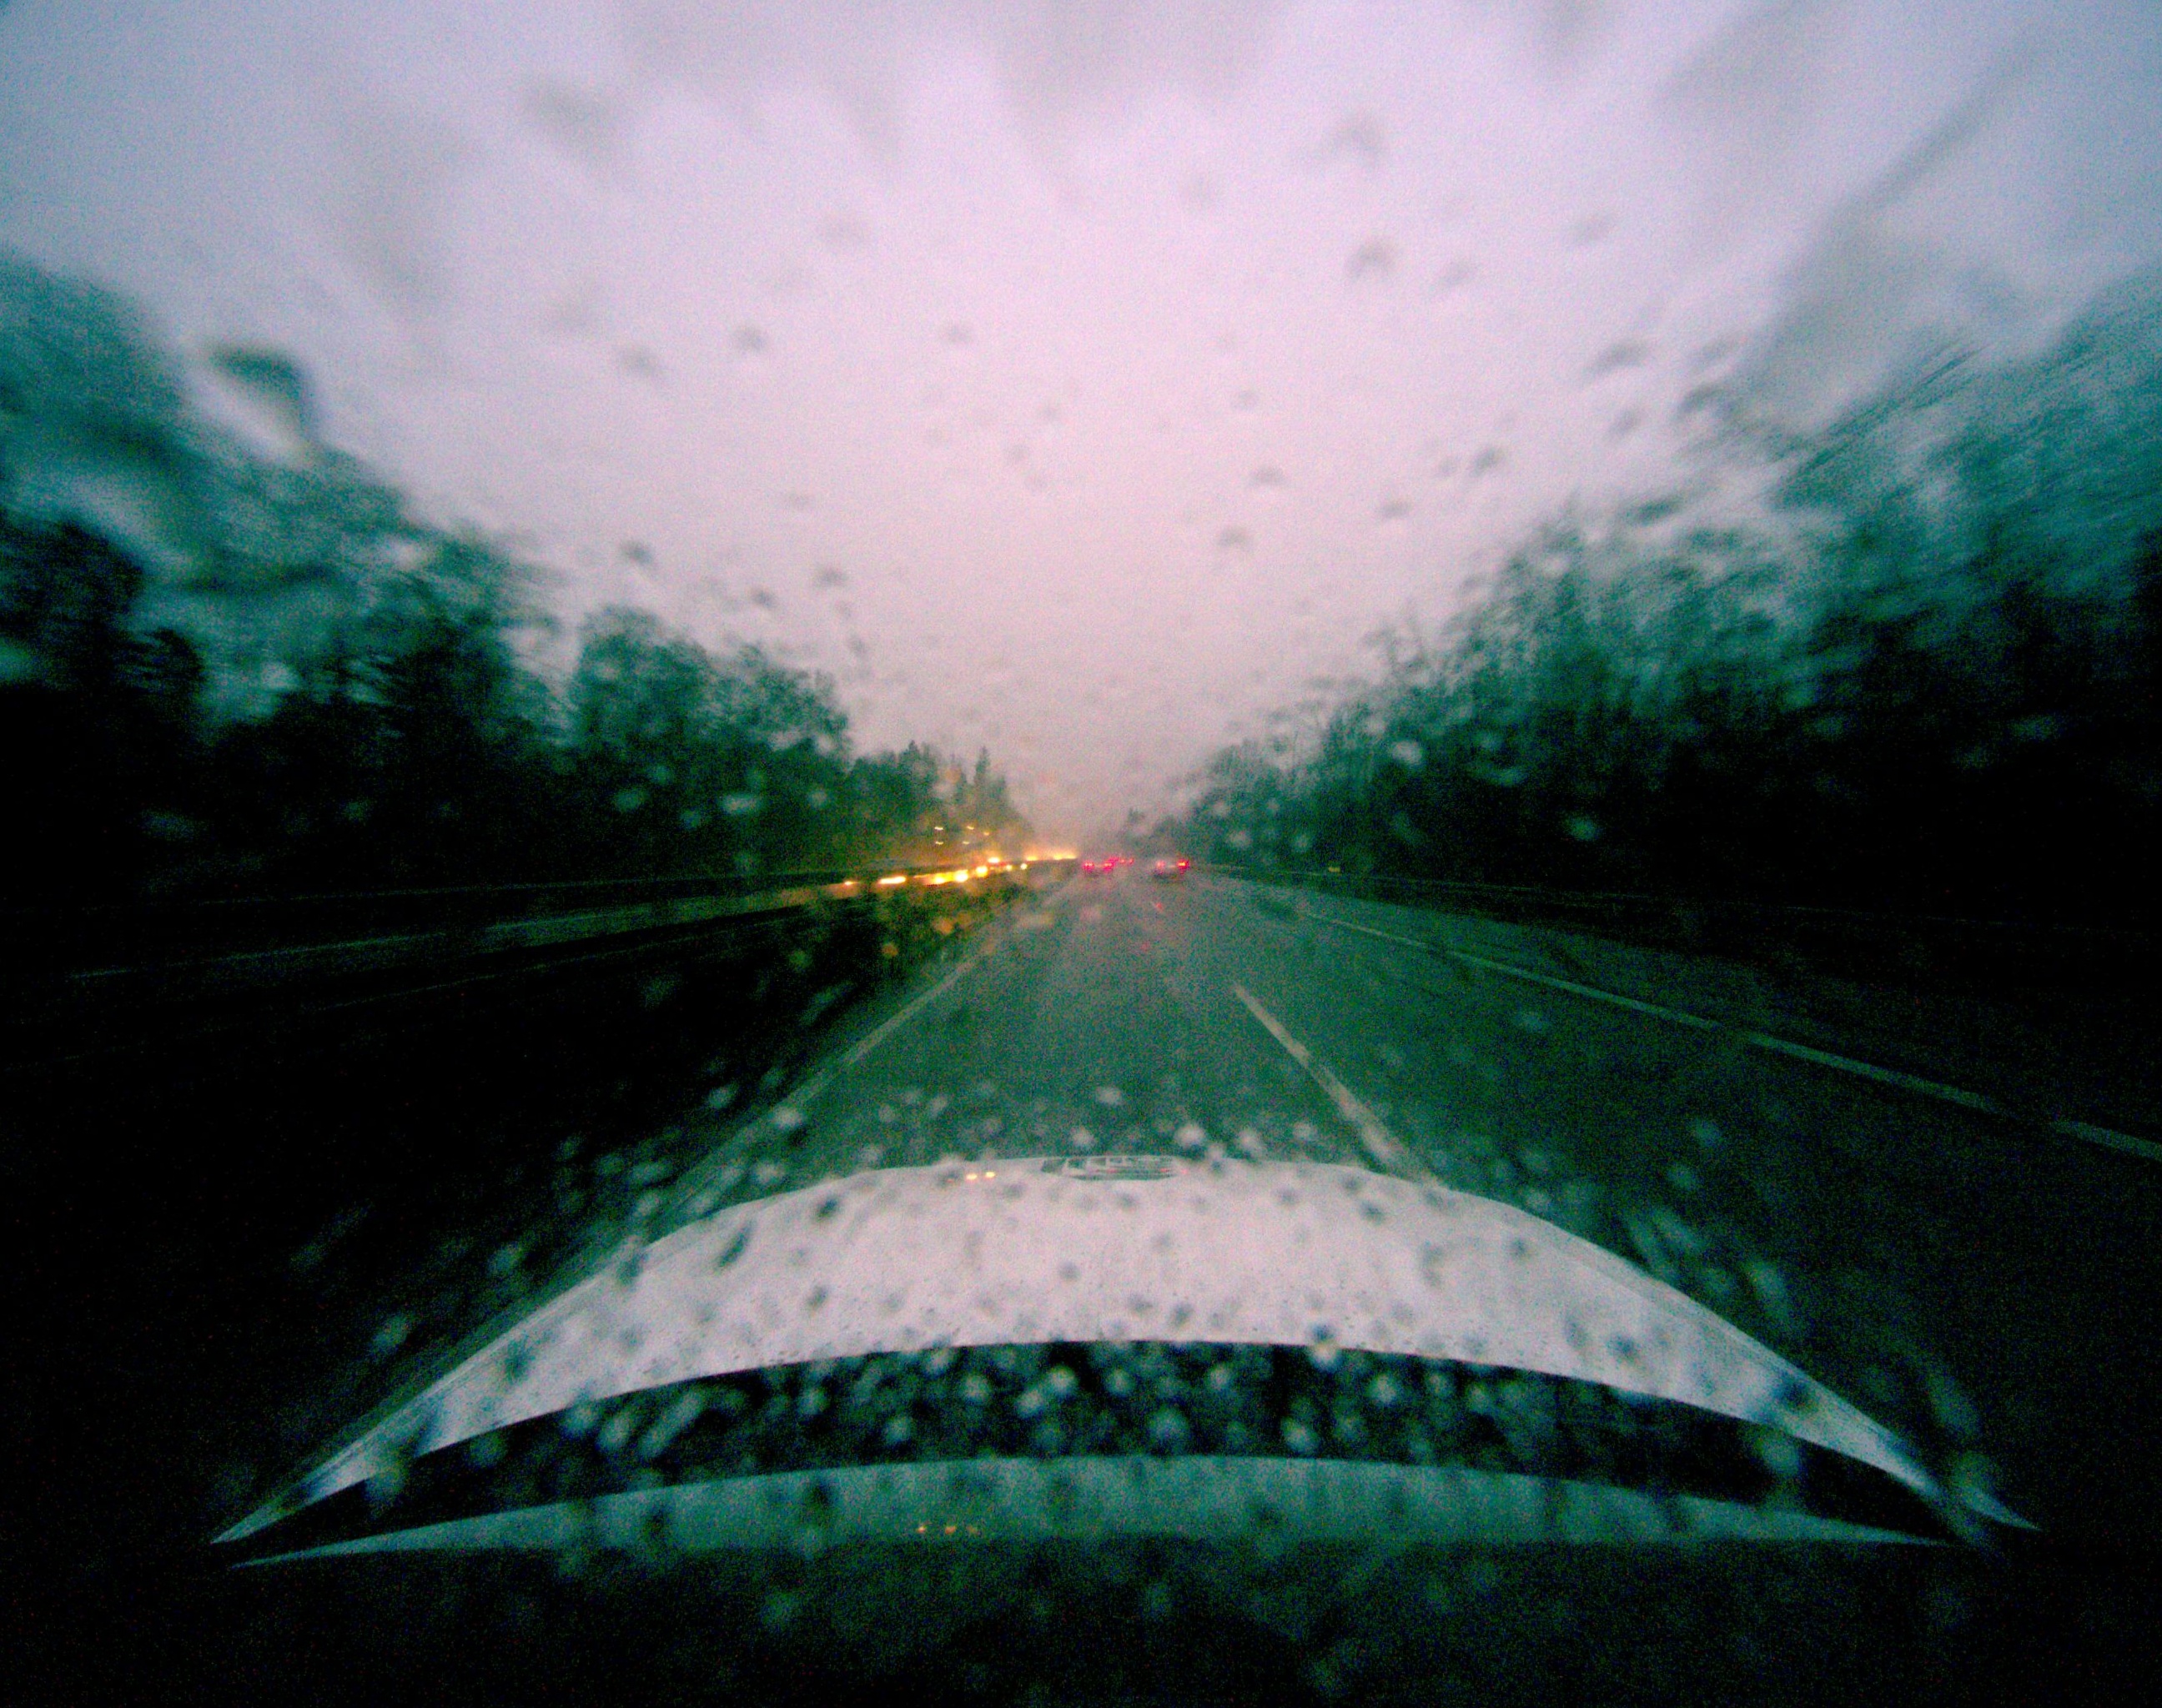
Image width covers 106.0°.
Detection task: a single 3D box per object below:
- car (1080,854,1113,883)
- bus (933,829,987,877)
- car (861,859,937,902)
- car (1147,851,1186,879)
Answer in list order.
[{"bbox_3d":[1.003,0.897,51.987,1.979,1.767,4.175,-1,0,2],"label":"car"},{"bbox_3d":[-9.540,-0.022,65.353,2.716,3.555,9.091,0,0,2],"label":"bus"},{"bbox_3d":[-7.013,0.973,31.752,1.791,1.535,4.273,0,0,3],"label":"car"},{"bbox_3d":[5.254,0.662,50.560,2.063,1.698,4.461,0,0,1],"label":"car"}]
